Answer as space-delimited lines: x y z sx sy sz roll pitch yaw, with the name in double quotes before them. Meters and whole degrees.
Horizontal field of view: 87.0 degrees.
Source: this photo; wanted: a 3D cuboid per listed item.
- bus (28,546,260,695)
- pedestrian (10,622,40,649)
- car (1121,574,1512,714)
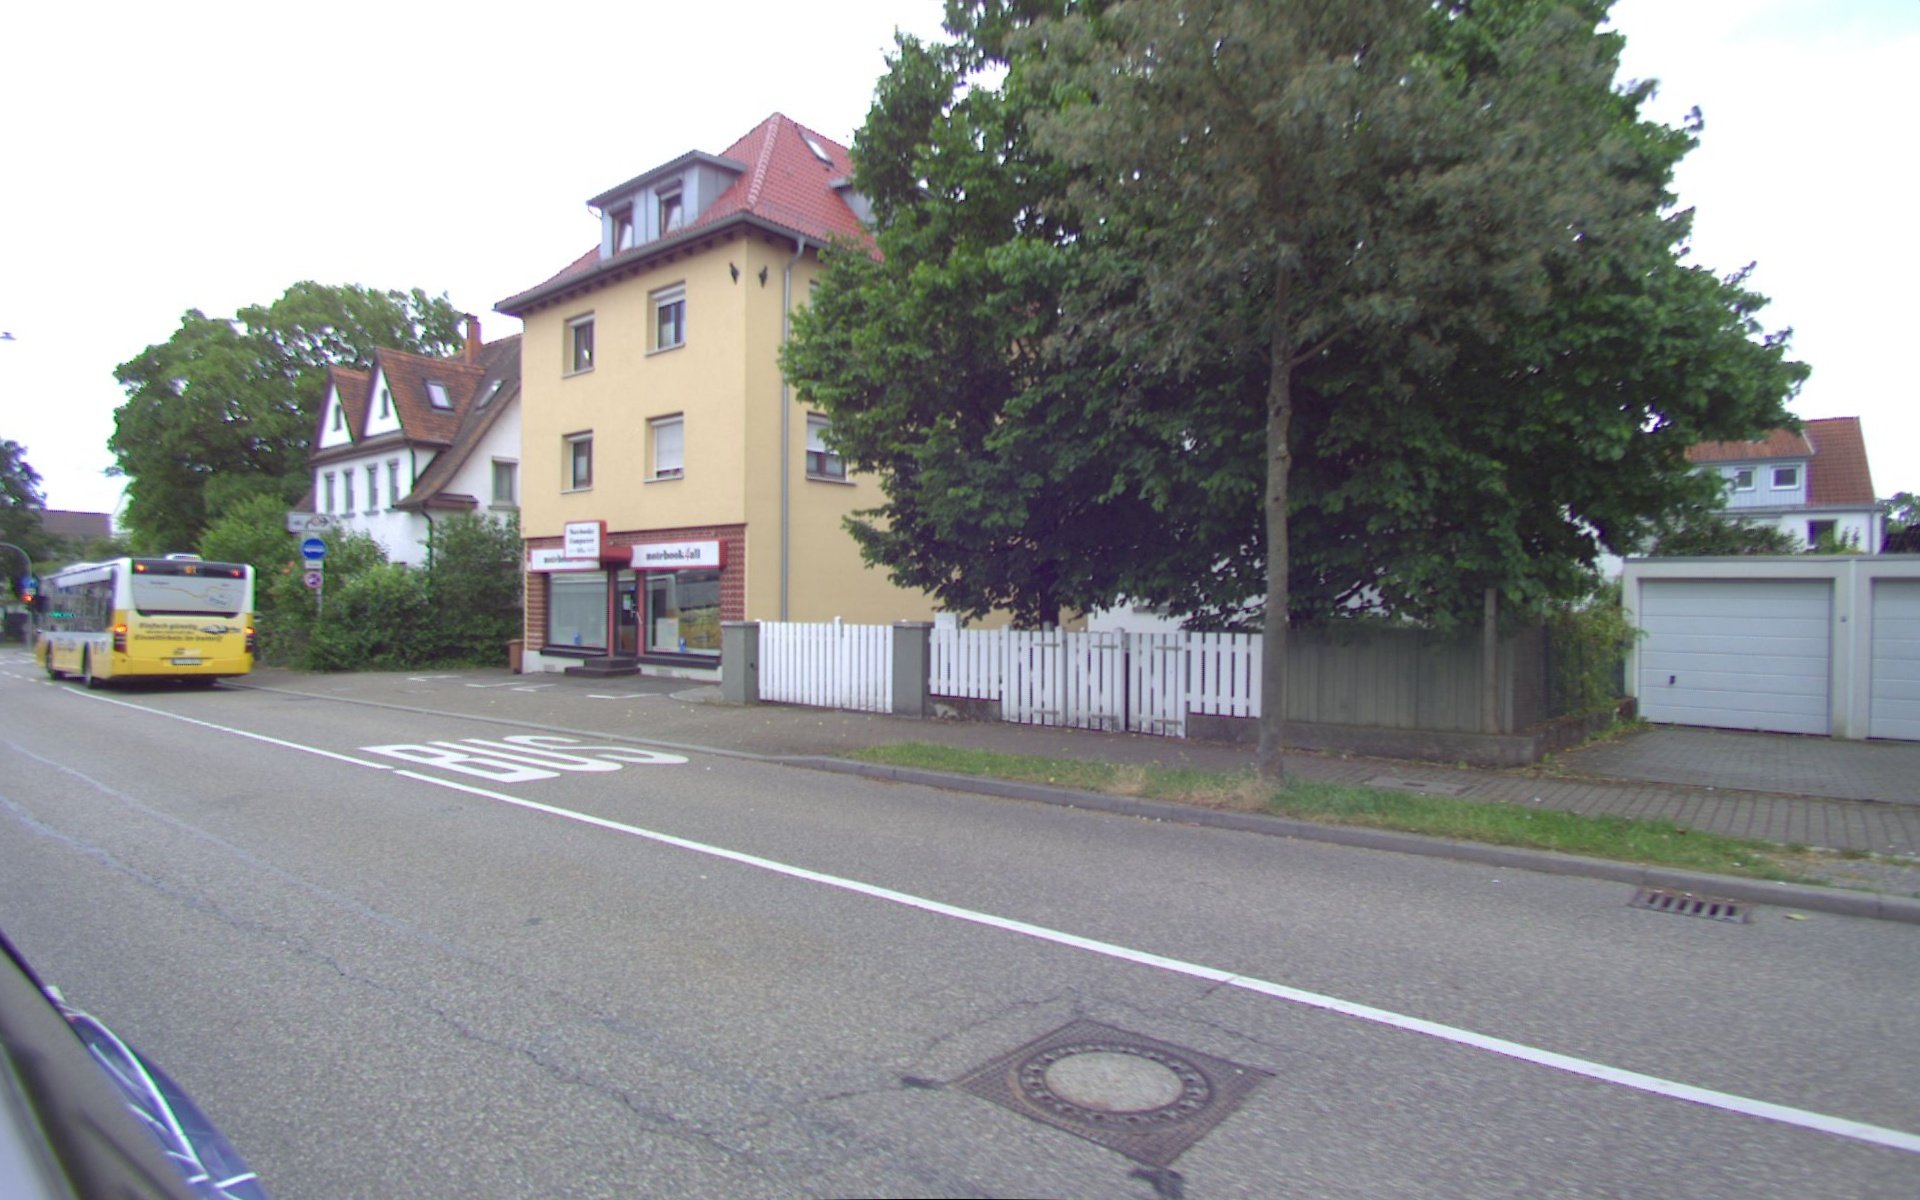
"bus" -21.341 0.519 26.055 12.064 3.109 2.604 -1 -2 41
"pedestrian" -63.646 2.382 68.917 1.211 1.767 0.825 -1 1 -3
"car" 4.608 0.559 13.473 4.610 1.576 1.789 -1 -3 37
